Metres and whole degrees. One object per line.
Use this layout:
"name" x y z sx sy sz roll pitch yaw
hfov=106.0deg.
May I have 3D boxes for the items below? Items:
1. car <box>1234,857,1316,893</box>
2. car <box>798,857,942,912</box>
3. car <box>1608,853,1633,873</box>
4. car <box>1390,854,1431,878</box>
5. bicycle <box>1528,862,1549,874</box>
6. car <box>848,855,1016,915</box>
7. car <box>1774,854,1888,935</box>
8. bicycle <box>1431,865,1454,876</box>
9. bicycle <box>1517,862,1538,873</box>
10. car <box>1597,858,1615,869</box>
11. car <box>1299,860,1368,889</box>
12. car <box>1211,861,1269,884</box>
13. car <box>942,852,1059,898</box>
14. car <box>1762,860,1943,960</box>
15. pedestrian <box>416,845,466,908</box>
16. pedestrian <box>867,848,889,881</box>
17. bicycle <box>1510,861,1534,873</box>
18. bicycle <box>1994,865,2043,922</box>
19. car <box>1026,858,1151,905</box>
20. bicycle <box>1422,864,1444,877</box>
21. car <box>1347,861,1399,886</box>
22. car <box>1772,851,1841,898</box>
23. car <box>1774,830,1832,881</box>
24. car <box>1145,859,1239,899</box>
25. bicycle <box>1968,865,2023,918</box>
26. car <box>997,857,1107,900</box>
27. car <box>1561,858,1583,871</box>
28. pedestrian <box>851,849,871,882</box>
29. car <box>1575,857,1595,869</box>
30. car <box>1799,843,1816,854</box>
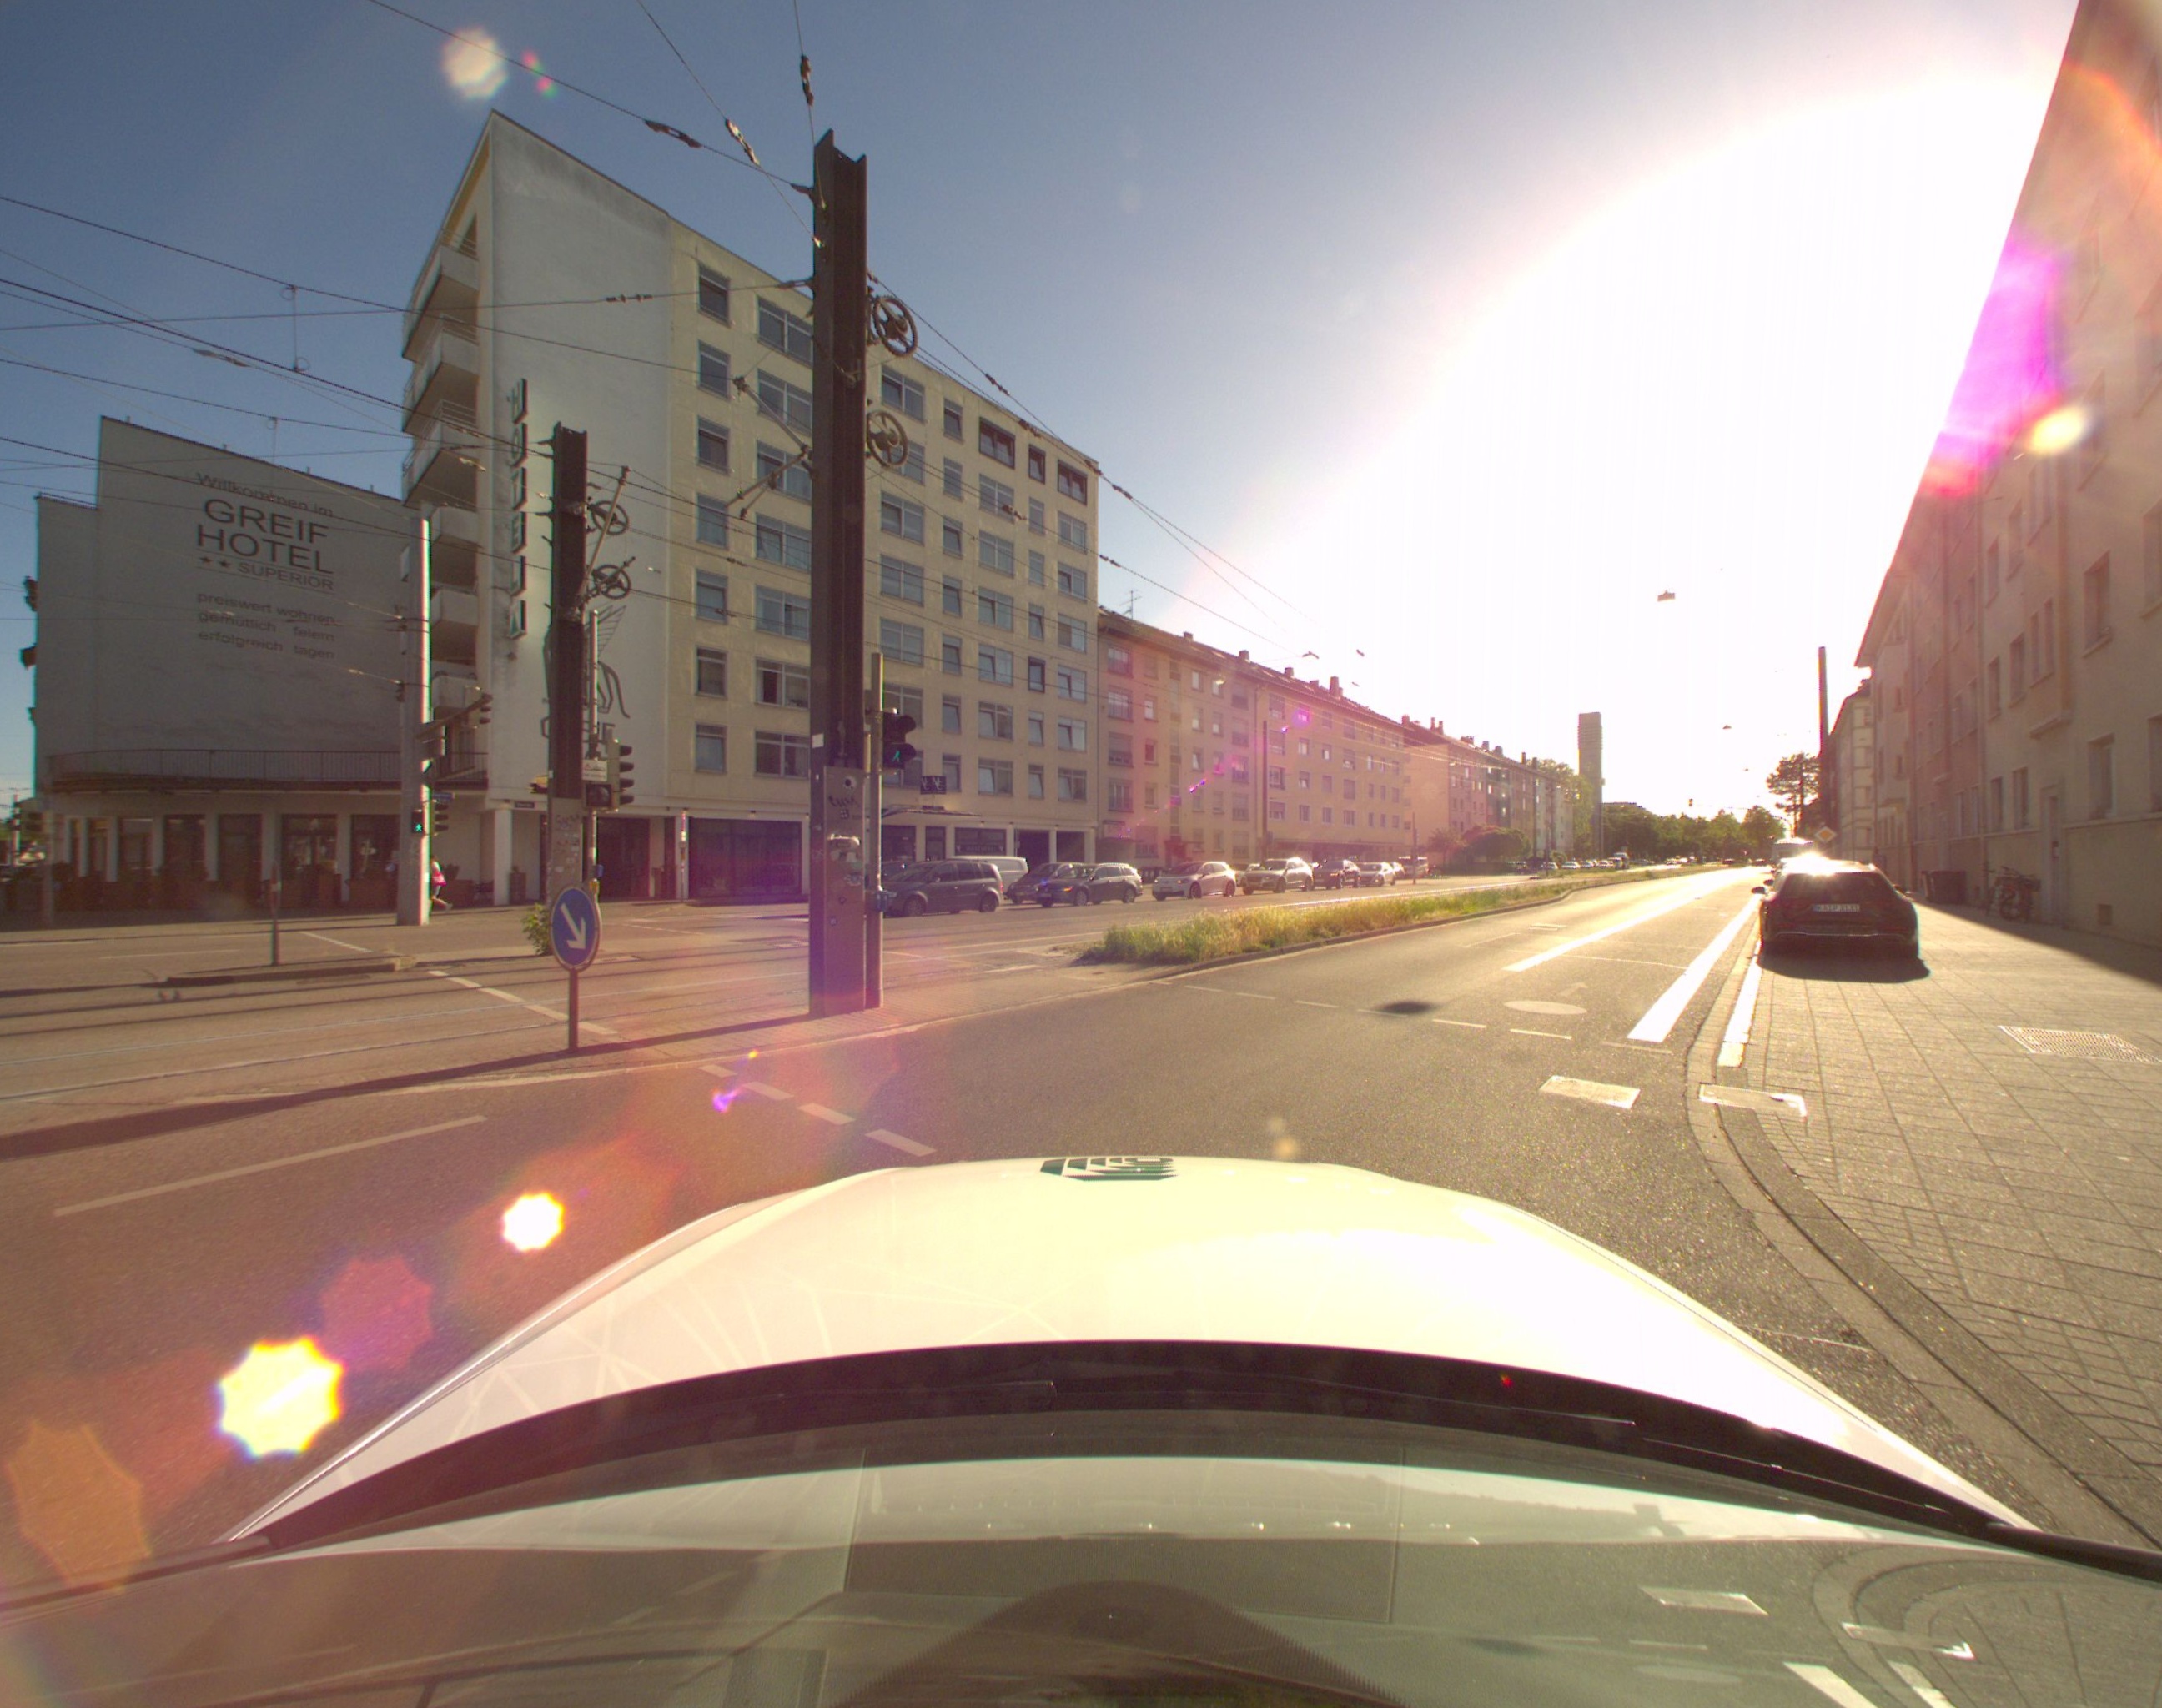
"car" 9.230 0.986 38.563 1.847 1.577 4.659 -3 -2 40
"car" -6.531 0.928 25.533 1.772 1.576 4.071 -1 -2 40
"car" 95.853 1.648 144.691 2.957 3.238 6.834 -1 -3 39
"car" 30.729 1.114 75.886 1.984 2.106 5.338 -1 -1 40
"bicycle" 53.454 1.633 95.211 2.108 1.325 0.901 0 -3 24
"car" -4.165 0.847 23.326 1.912 1.548 4.479 -1 -2 43
"car" 15.628 0.817 17.098 1.537 1.526 3.007 -2 -2 39
"bicycle" 35.671 1.616 80.350 2.054 1.022 0.808 0 -3 28
"bicycle" 51.483 1.570 93.903 2.107 1.325 0.902 -1 -3 35
"car" 82.941 1.530 128.651 1.974 1.554 4.024 -1 -3 39
"car" 13.803 1.123 44.364 1.944 1.480 4.597 -1 -2 39
"car" 10.220 1.187 52.093 1.759 1.435 4.080 -1 -2 42
"car" -3.531 0.889 36.706 1.924 1.869 5.359 3 1 41
"car" 12.832 0.843 13.789 1.865 1.398 4.770 -4 -3 41
"pedestrian" -18.076 0.636 23.001 0.728 1.746 0.915 -1 -3 39
"pedestrian" -8.573 0.437 34.438 0.677 1.376 0.531 0 -3 20
"bicycle" 50.133 1.494 92.551 2.286 1.305 0.919 -1 -3 38
"bicycle" 20.974 0.859 18.243 0.509 1.193 1.566 -1 -1 42
"car" 0.354 0.948 28.655 1.801 1.491 4.568 -1 -2 43
"bicycle" 34.124 1.565 78.945 1.950 1.206 0.699 0 -3 14
"car" 17.899 1.193 49.765 1.805 1.446 4.311 -1 -2 37
"car" 27.338 0.760 30.782 1.645 1.644 4.210 -4 -2 39
"car" 40.762 0.124 46.103 2.137 2.652 5.678 -4 -3 40
"car" 4.597 0.999 33.228 1.820 1.515 4.269 -1 -2 39
"bicycle" 22.251 0.895 19.850 0.623 1.193 1.893 -4 -2 42
"car" -1.094 0.957 32.320 1.963 1.576 4.349 -1 -2 40
"car" 66.227 1.385 109.748 1.974 1.581 4.024 -1 -3 39
"pedestrian" -9.400 0.490 34.771 0.494 1.376 0.606 0 -3 27
"car" 72.866 1.363 117.734 1.974 1.554 4.024 -1 -3 39
"car" 142.228 -1.050 159.485 1.974 1.783 4.025 -1 -3 34
